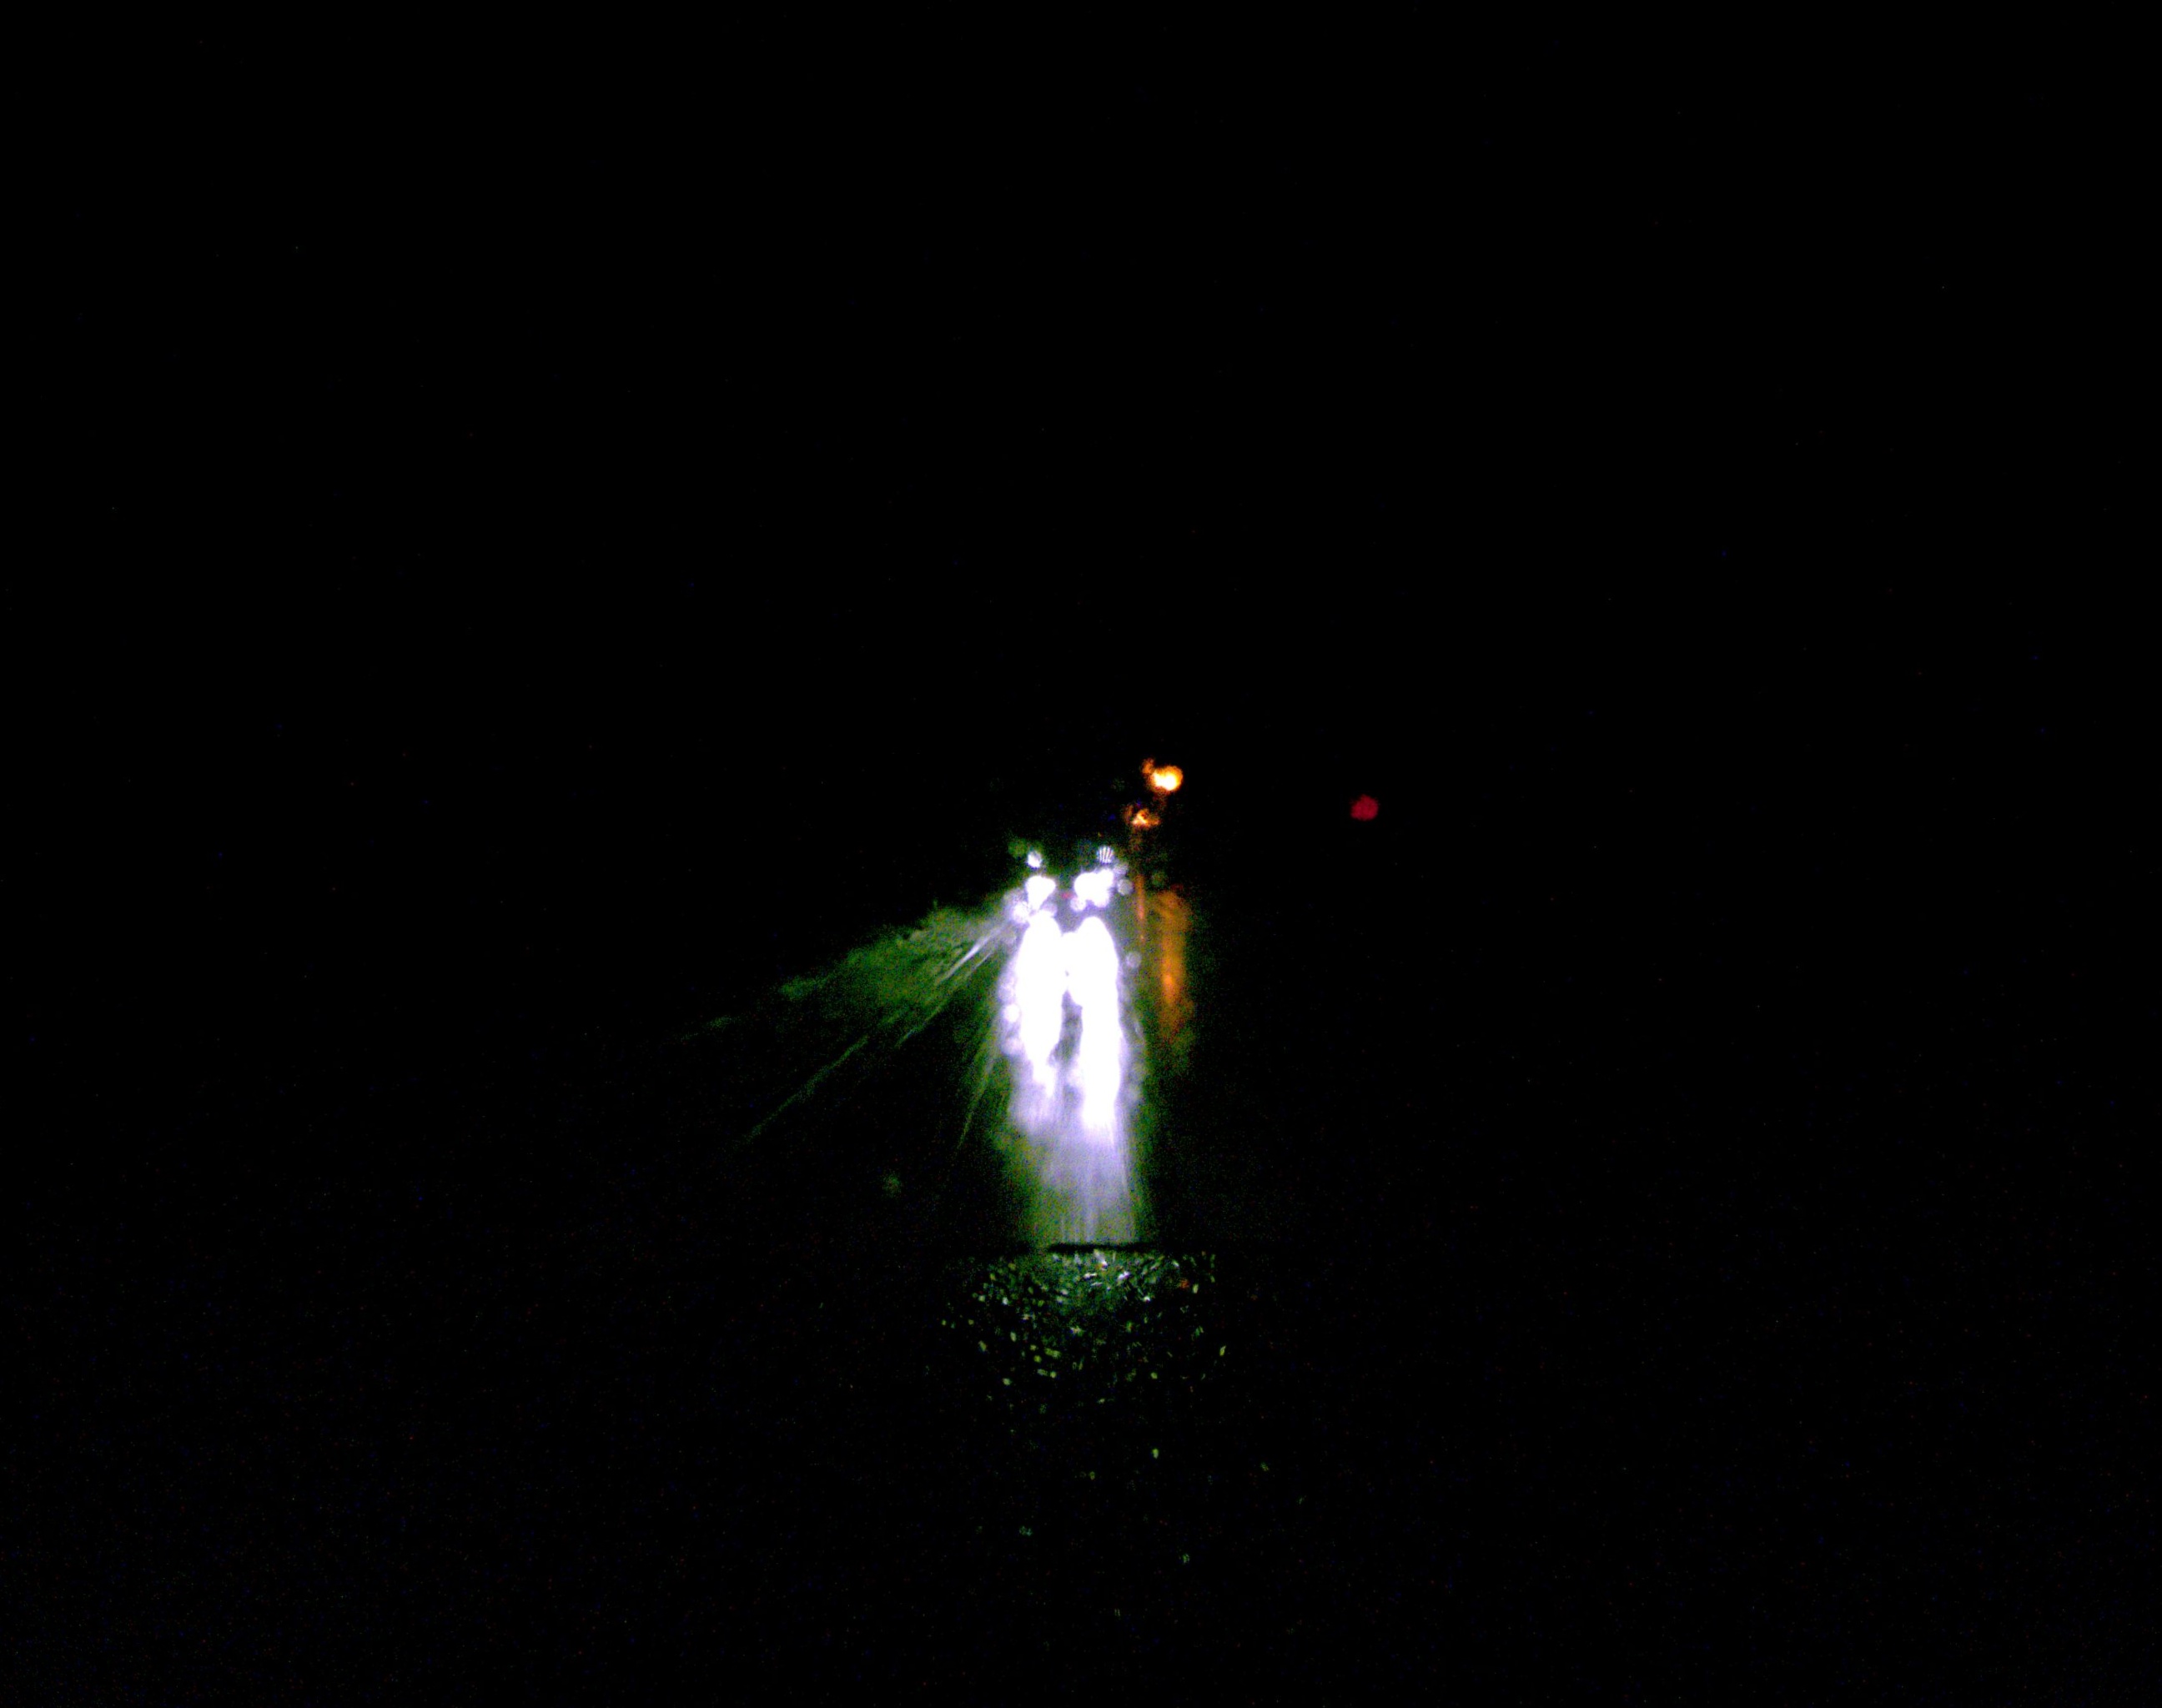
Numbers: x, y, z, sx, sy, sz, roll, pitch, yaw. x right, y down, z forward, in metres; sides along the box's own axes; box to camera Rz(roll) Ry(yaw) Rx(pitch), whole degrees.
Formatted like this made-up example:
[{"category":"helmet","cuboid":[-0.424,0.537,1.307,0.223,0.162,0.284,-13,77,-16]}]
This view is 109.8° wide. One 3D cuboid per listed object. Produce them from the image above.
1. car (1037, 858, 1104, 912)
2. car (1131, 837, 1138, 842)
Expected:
[{"category":"car","cuboid":[-0.259,0.982,25.533,1.944,1.580,4.777,-1,-1,2]},{"category":"car","cuboid":[15.261,-4.188,215.313,1.918,1.467,4.203,-1,2,6]}]
